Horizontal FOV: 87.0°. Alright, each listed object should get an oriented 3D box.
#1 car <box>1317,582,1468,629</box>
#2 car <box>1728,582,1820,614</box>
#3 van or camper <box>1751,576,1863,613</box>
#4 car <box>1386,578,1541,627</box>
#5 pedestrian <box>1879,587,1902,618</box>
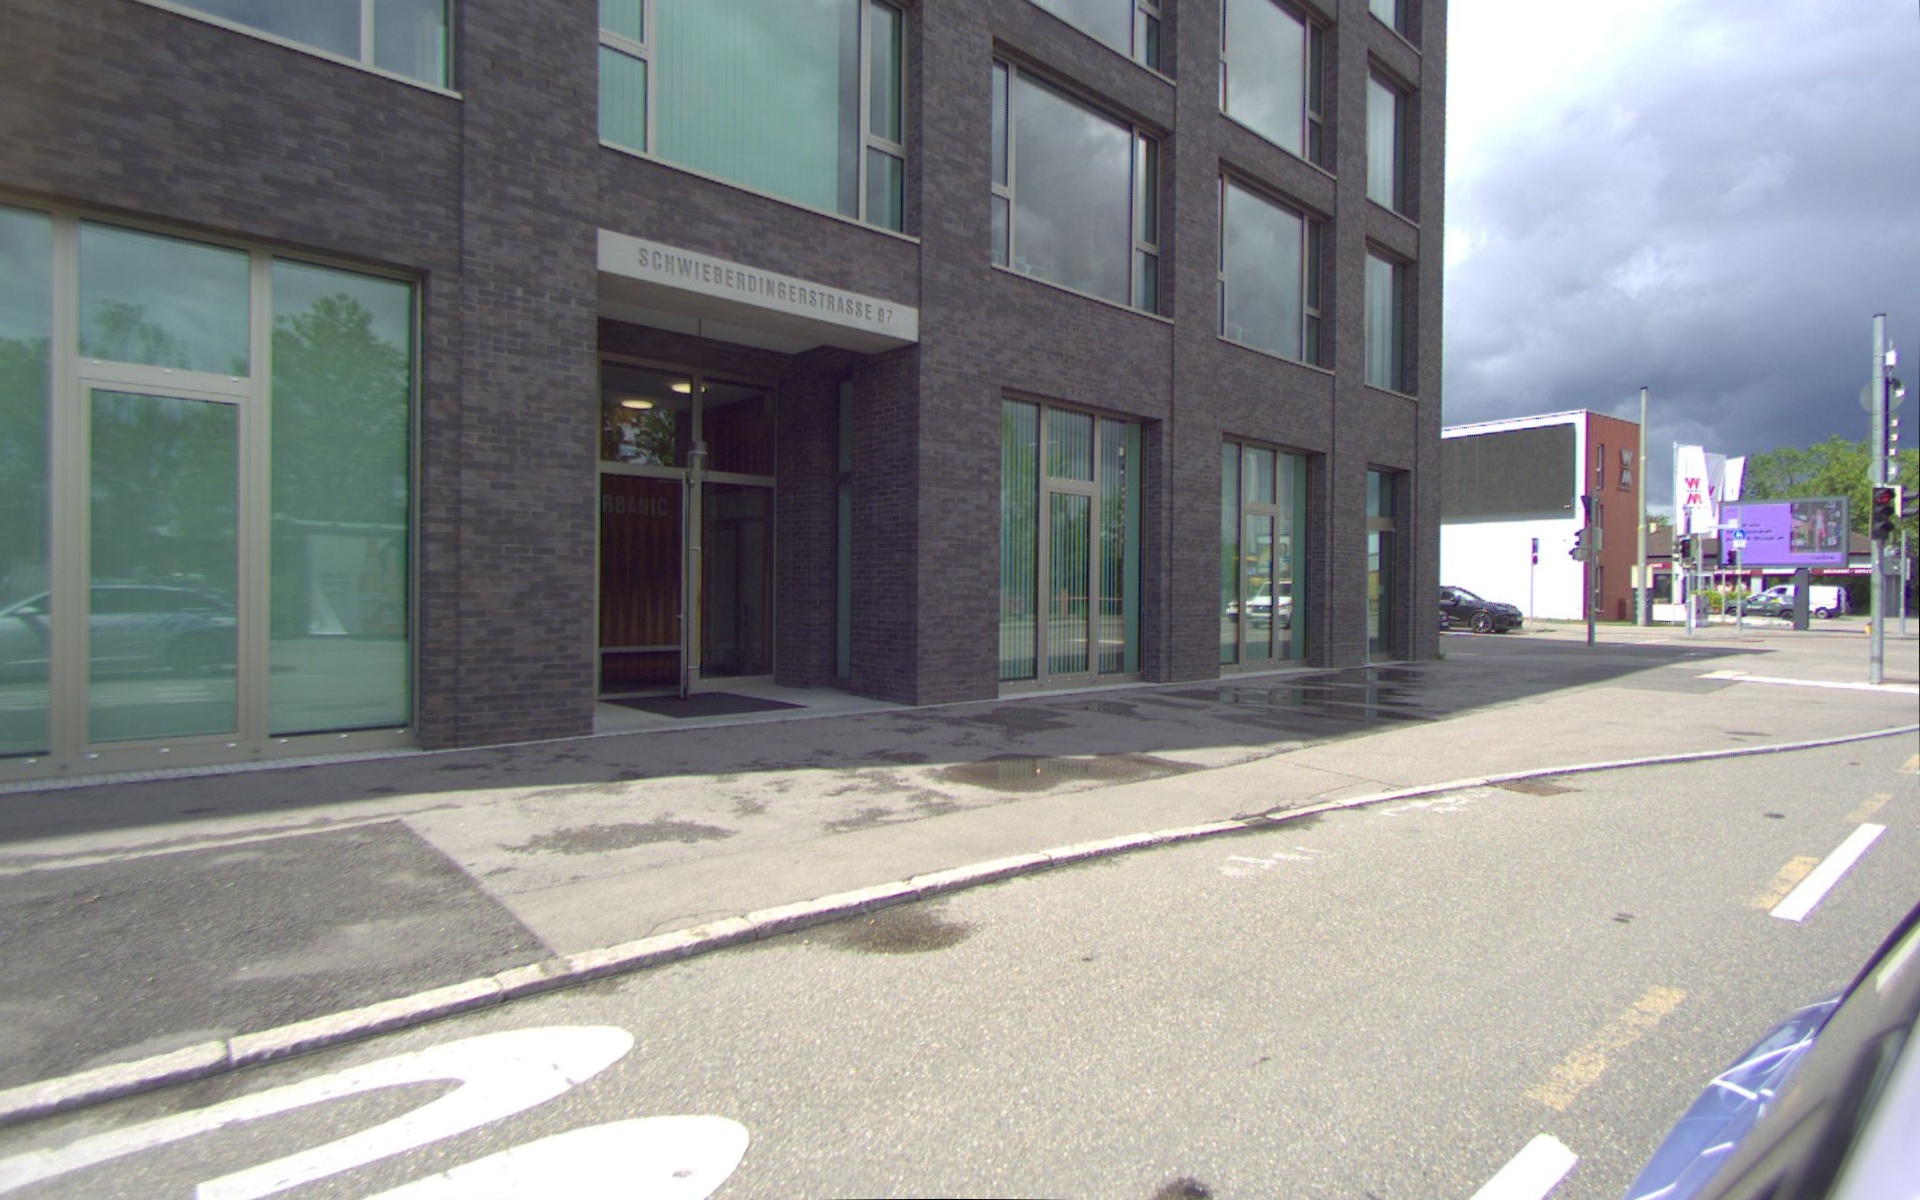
[{"bbox_3d":[15.203,0.144,35.804,1.965,1.511,4.533,-1,2,-40],"label":"car"},{"bbox_3d":[46.180,-0.152,57.475,1.730,1.503,3.679,-1,5,-38],"label":"car"},{"bbox_3d":[52.239,-0.382,62.488,2.173,1.981,4.910,-1,4,-39],"label":"van or camper"},{"bbox_3d":[18.203,0.057,36.753,1.965,1.639,4.648,0,1,-41],"label":"car"},{"bbox_3d":[53.487,0.140,58.174,0.726,1.726,0.714,-1,7,-40],"label":"pedestrian"}]
